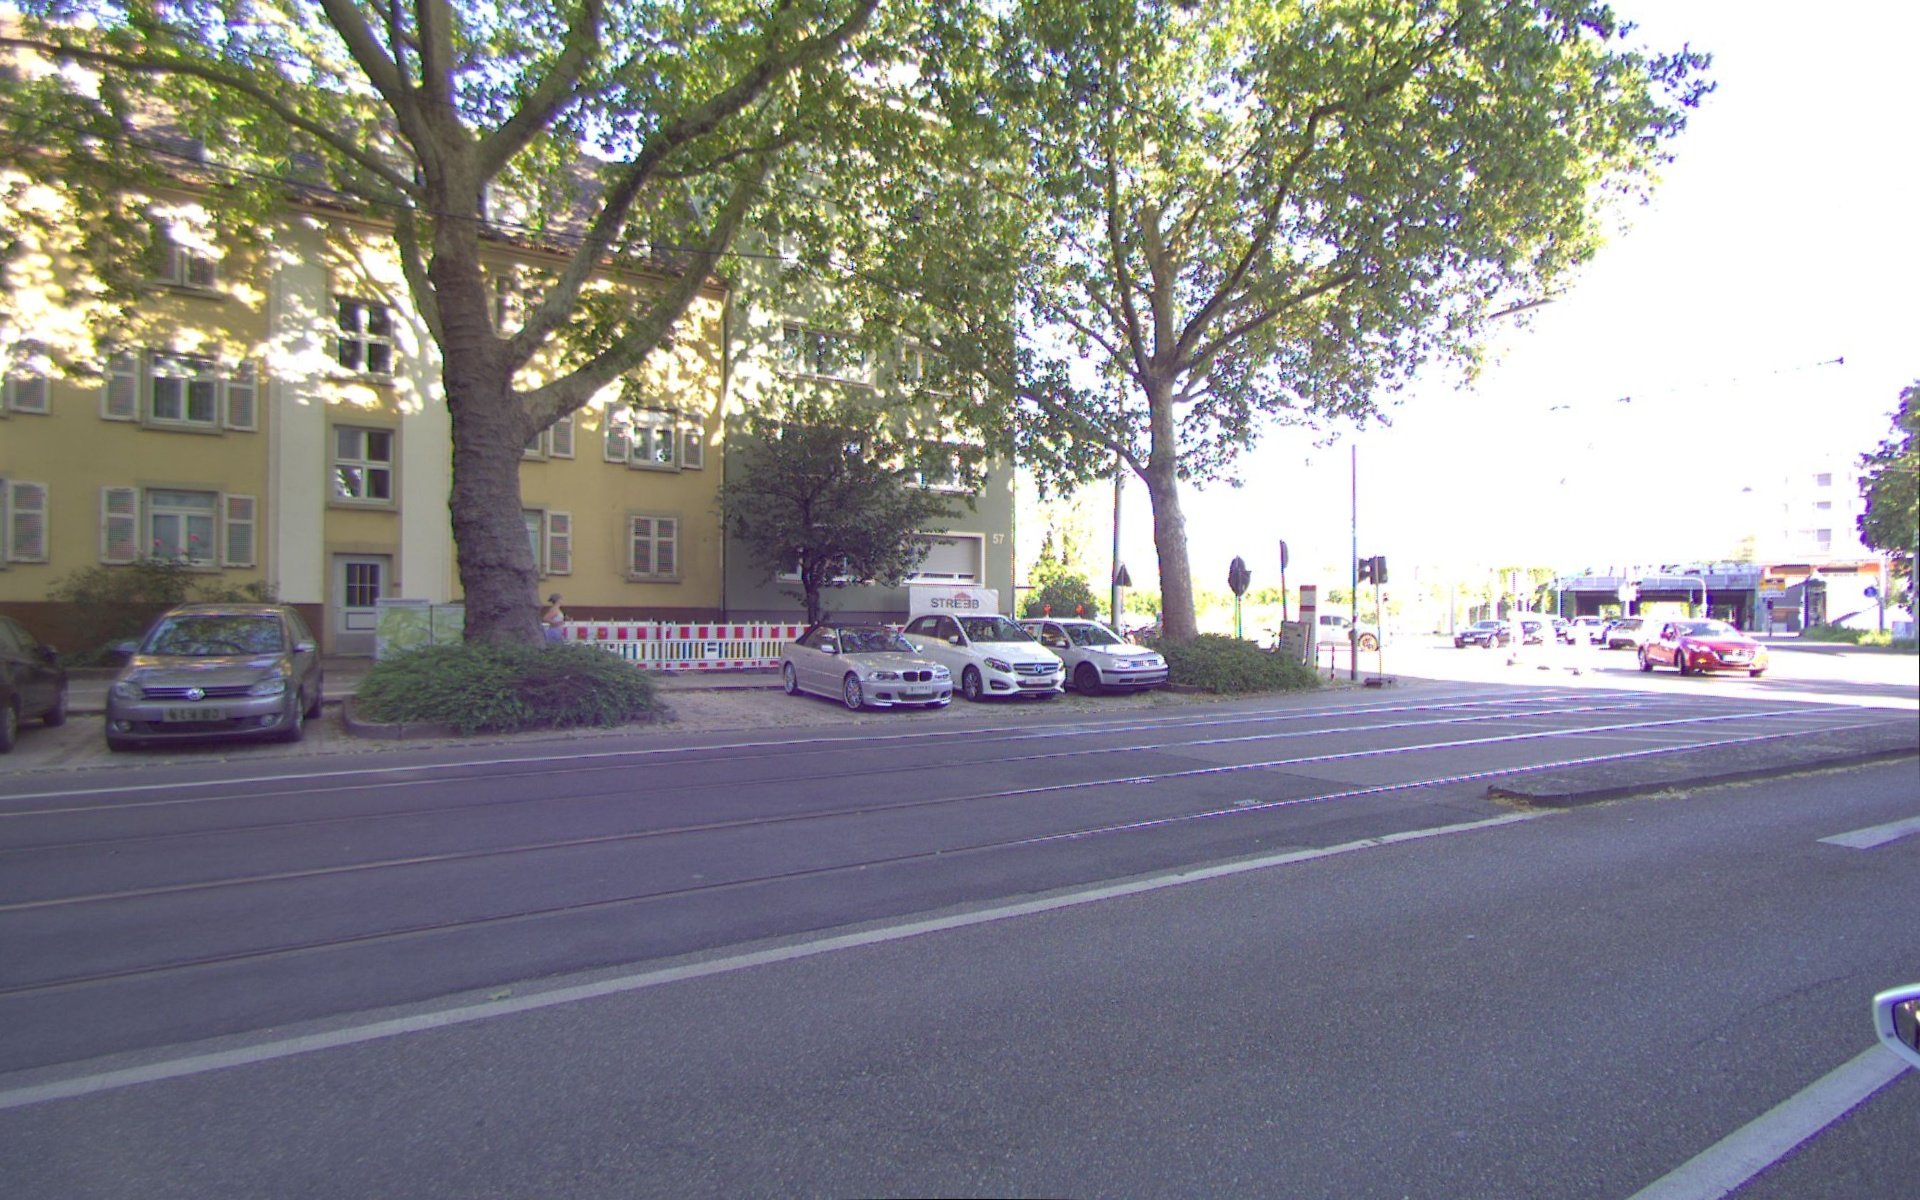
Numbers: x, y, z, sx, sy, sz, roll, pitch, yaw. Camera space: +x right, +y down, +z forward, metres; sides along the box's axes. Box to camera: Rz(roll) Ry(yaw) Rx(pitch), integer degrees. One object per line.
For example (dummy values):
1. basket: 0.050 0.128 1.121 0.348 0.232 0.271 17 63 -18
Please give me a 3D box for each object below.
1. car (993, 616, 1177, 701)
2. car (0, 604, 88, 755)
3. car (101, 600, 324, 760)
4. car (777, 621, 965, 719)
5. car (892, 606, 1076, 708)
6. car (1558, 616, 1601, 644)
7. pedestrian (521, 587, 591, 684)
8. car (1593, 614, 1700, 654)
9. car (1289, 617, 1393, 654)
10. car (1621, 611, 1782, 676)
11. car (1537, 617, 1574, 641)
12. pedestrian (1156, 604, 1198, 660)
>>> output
1. car: 2.438 1.111 20.530 1.651 1.473 3.949 1 0 -31
2. car: -11.468 0.832 11.386 1.652 1.518 3.778 1 0 -29
3. car: -9.002 0.832 12.418 1.652 1.602 3.953 1 0 -29
4. car: -1.652 1.109 17.311 1.651 1.370 3.949 1 0 -31
5. car: 0.348 0.983 19.156 1.651 1.669 3.949 1 0 -31
6. car: 37.960 1.816 61.516 1.860 1.606 3.823 2 0 37
7. pedestrian: -7.300 0.630 18.160 0.948 1.683 0.765 2 0 -41
8. car: 29.868 1.478 43.707 4.138 1.572 1.986 2 0 -24
9. car: 17.075 1.567 45.054 4.131 1.539 1.800 0 0 30
10. car: 19.678 1.094 26.922 1.982 1.586 4.493 0 -1 15
11. car: 42.487 2.062 71.665 1.860 1.606 3.823 2 0 37
12. pedestrian: 6.746 0.989 31.212 0.919 1.669 0.841 2 0 -30
